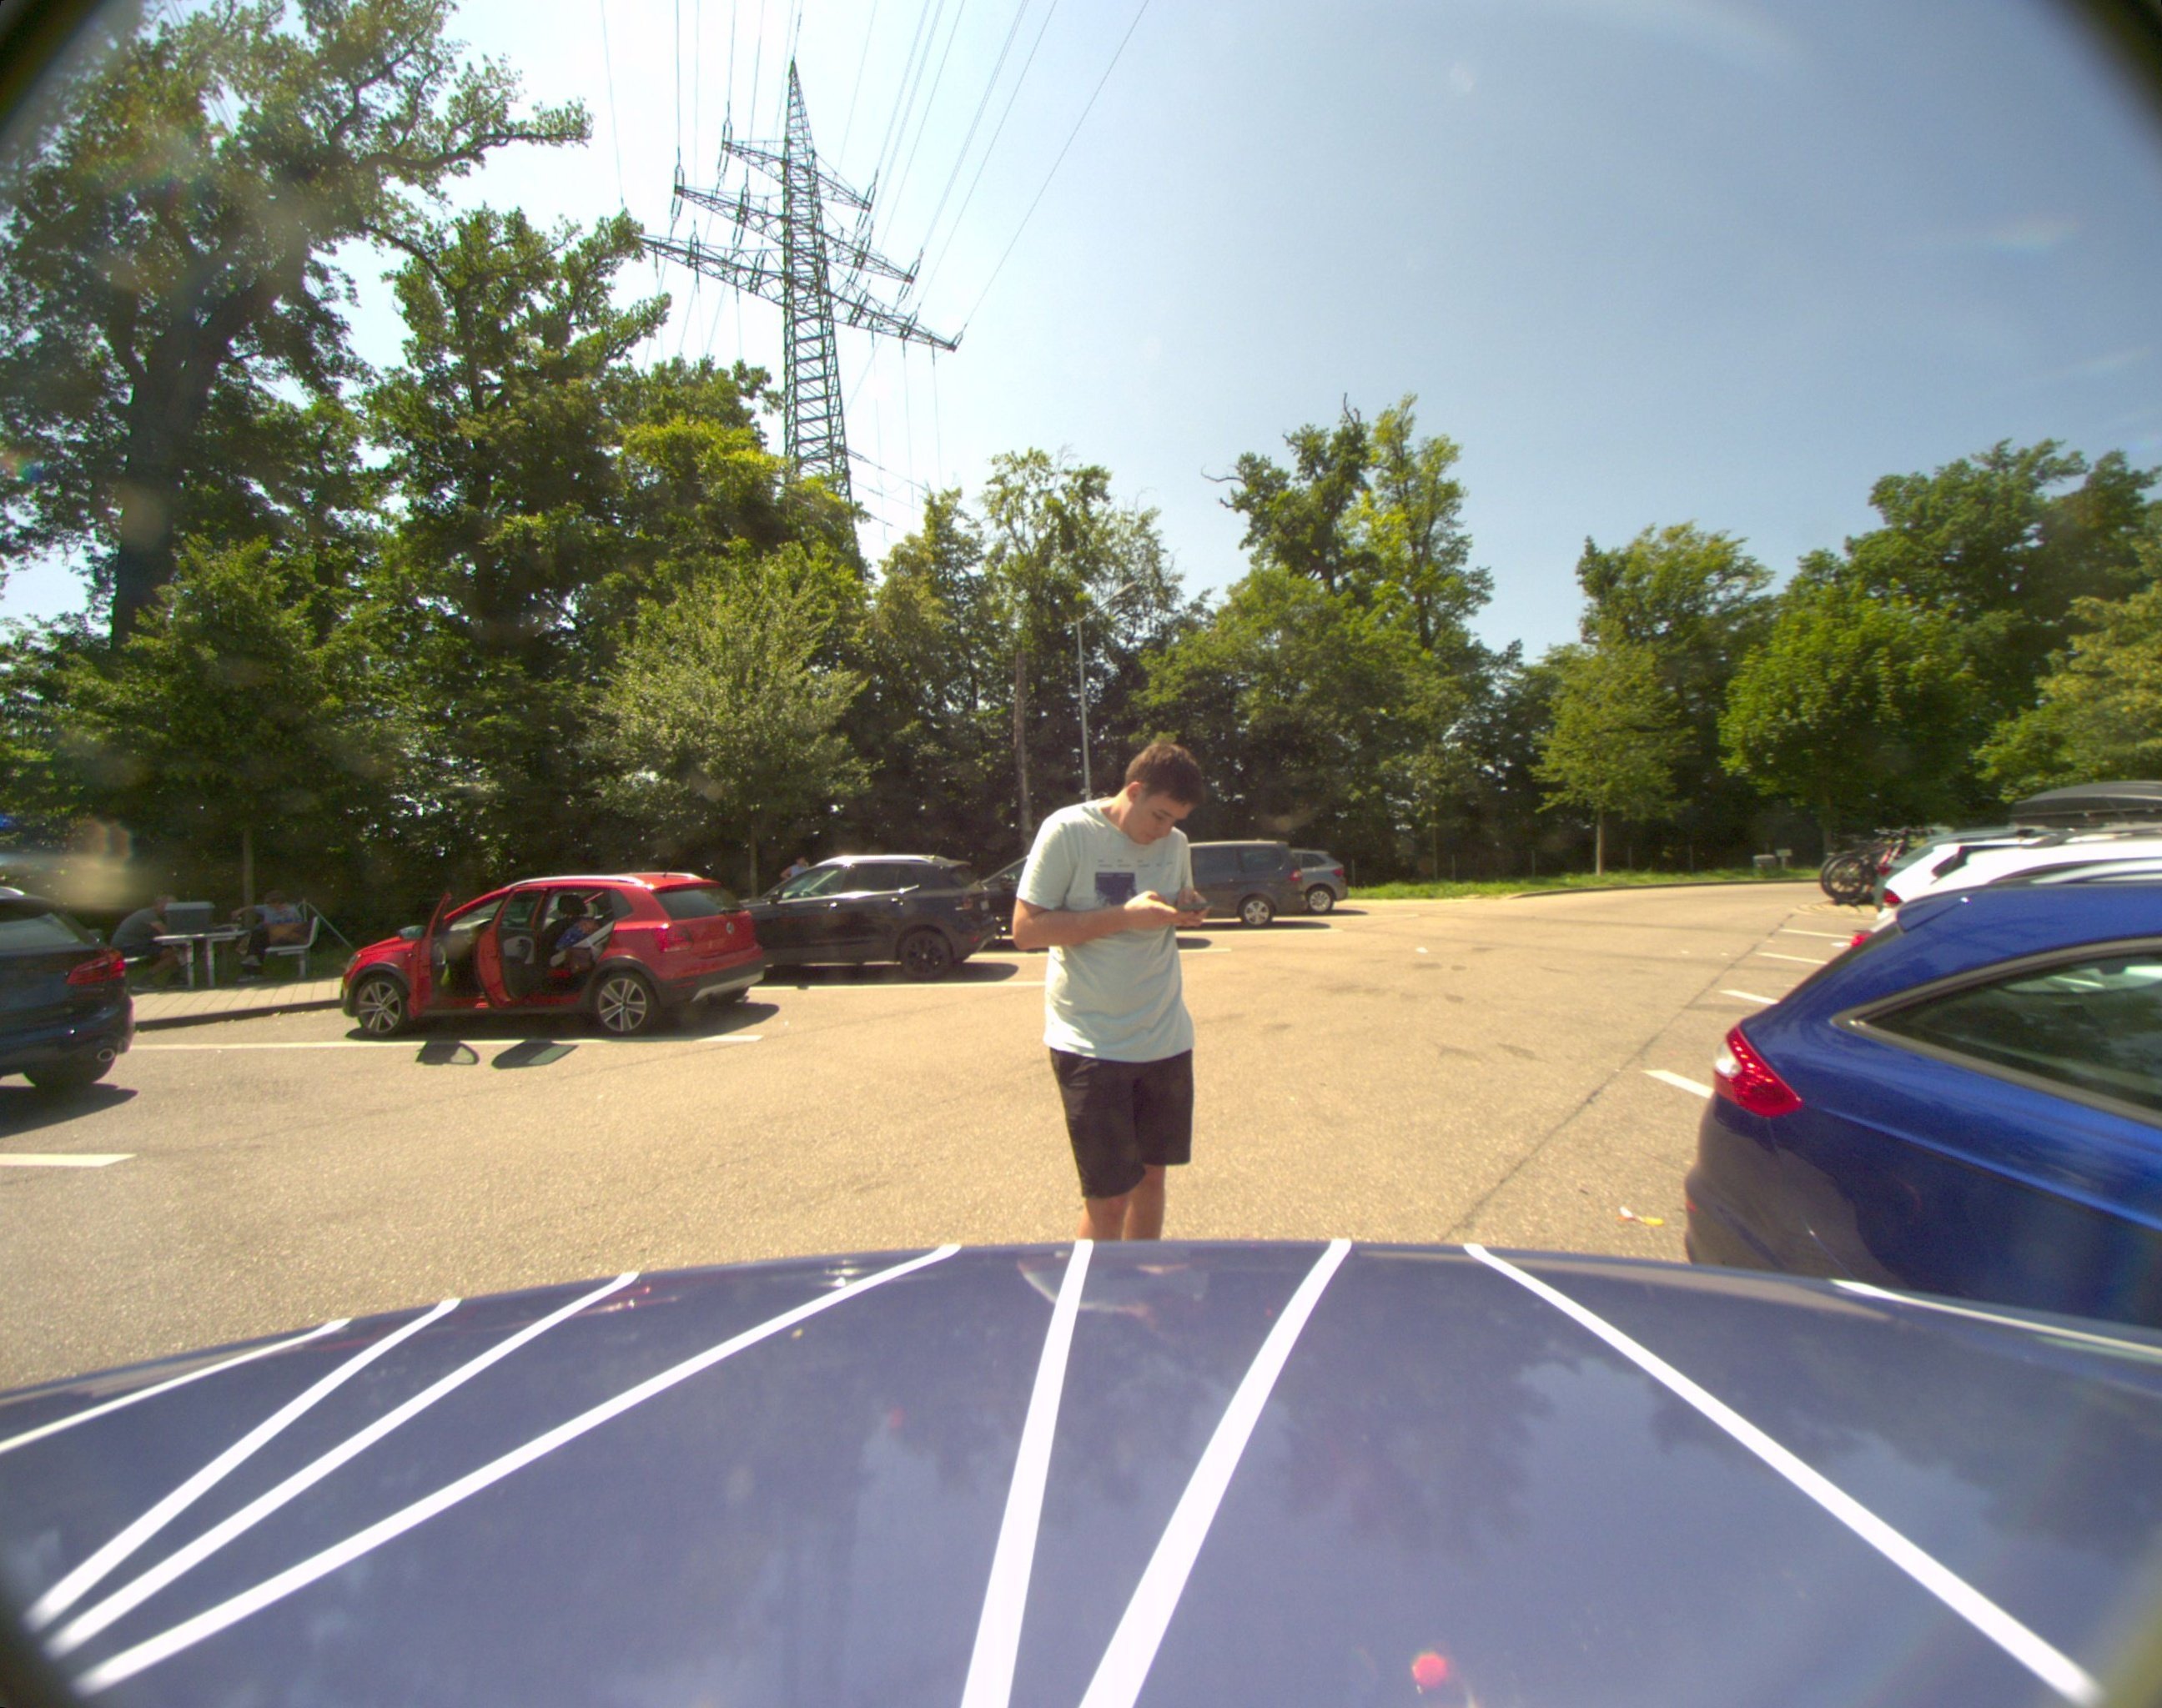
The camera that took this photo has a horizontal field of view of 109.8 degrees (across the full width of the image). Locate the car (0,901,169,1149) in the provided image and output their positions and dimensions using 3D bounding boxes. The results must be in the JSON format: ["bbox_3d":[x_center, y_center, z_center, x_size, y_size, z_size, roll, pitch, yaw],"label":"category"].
[{"bbox_3d":[-8.882,1.171,4.995,3.934,1.534,1.812,-2,0,7],"label":"car"}]

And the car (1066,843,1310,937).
[{"bbox_3d":[2.142,0.715,15.473,4.619,1.701,1.740,-2,0,9],"label":"car"}]

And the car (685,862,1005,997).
[{"bbox_3d":[-3.030,0.954,10.316,3.732,1.578,1.739,-2,0,2],"label":"car"}]

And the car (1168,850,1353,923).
[{"bbox_3d":[4.147,0.744,18.011,3.996,1.495,1.687,-2,1,3],"label":"car"}]

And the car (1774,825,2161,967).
[{"bbox_3d":[12.543,0.476,10.371,1.777,1.541,4.493,-3,-1,-5],"label":"car"}]

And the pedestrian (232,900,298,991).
[{"bbox_3d":[-11.948,1.316,11.130,0.695,1.228,0.588,-3,0,43],"label":"pedestrian"}]

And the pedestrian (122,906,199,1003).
[{"bbox_3d":[-12.629,1.350,10.442,0.695,1.228,0.588,-3,0,43],"label":"pedestrian"}]

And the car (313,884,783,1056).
[{"bbox_3d":[-5.187,1.098,7.639,3.730,1.440,1.591,-2,0,7],"label":"car"}]

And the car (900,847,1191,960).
[{"bbox_3d":[-0.494,0.803,13.064,4.610,1.703,2.001,-2,1,10],"label":"car"}]

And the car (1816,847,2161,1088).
[{"bbox_3d":[7.478,0.675,4.514,1.776,1.418,4.495,-3,-1,-1],"label":"car"}]

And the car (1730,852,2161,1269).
[{"bbox_3d":[4.875,0.744,2.356,1.776,1.491,4.495,-3,-1,-1],"label":"car"}]

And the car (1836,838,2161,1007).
[{"bbox_3d":[10.111,0.571,6.900,1.777,1.418,4.493,-3,-1,-5],"label":"car"}]

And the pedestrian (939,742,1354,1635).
[{"bbox_3d":[0.171,0.717,2.149,0.862,1.940,0.687,-3,1,-31],"label":"pedestrian"}]

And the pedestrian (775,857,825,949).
[{"bbox_3d":[-5.798,0.987,15.685,0.767,1.821,0.519,-3,2,-42],"label":"pedestrian"}]
